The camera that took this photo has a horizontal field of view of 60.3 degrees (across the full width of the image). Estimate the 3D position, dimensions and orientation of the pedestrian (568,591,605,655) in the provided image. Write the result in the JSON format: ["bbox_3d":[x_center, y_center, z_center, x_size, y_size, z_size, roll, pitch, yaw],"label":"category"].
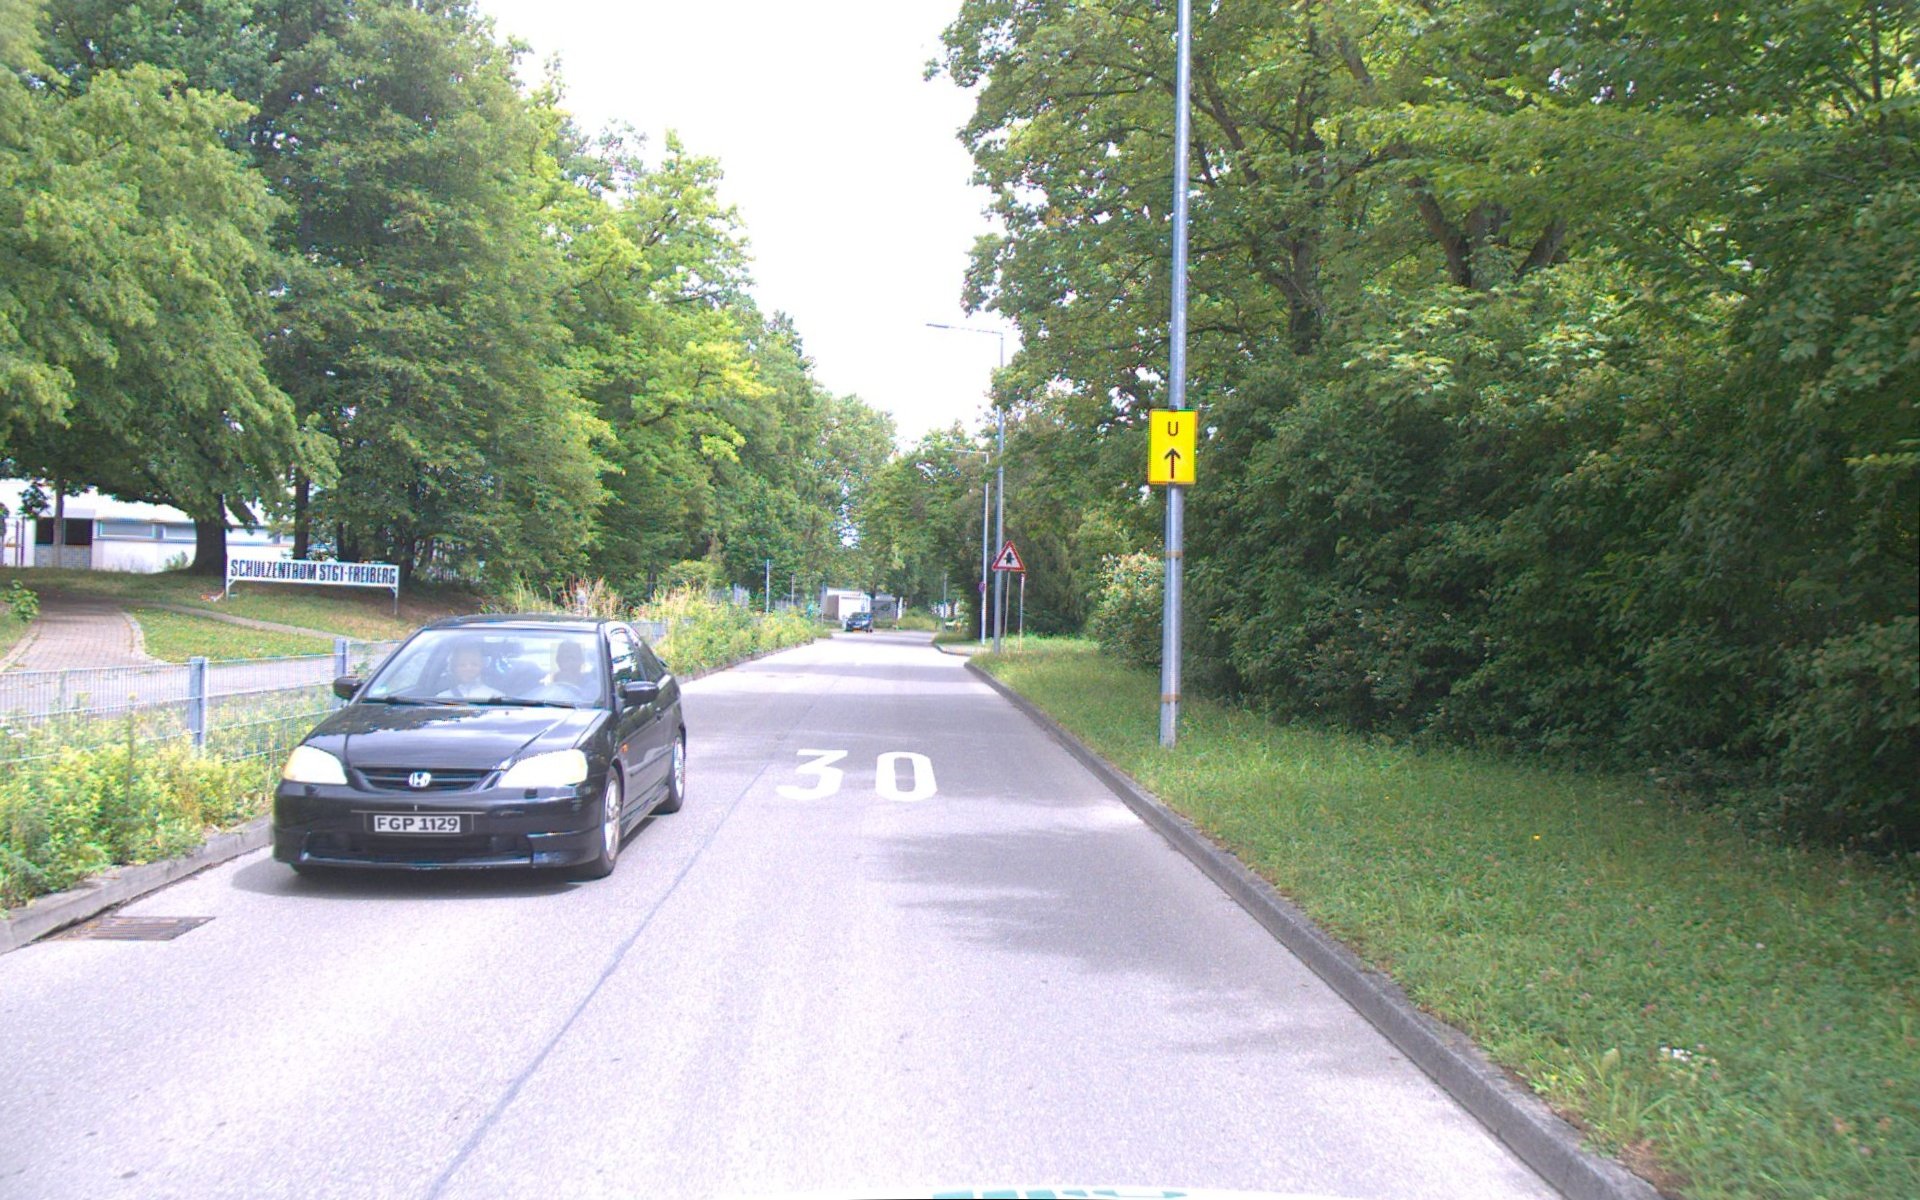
[{"bbox_3d":[-12.183,0.766,53.913,0.863,2.049,0.861,-4,-4,43],"label":"pedestrian"}]

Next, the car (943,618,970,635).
[{"bbox_3d":[-0.370,2.649,162.229,1.820,1.518,4.002,-1,-3,12],"label":"car"}]

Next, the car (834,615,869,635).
[{"bbox_3d":[-8.156,1.865,124.628,1.937,1.408,4.002,2,0,5],"label":"car"}]

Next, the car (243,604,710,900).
[{"bbox_3d":[-2.624,0.737,9.974,1.658,1.372,4.093,1,0,-1],"label":"car"}]
